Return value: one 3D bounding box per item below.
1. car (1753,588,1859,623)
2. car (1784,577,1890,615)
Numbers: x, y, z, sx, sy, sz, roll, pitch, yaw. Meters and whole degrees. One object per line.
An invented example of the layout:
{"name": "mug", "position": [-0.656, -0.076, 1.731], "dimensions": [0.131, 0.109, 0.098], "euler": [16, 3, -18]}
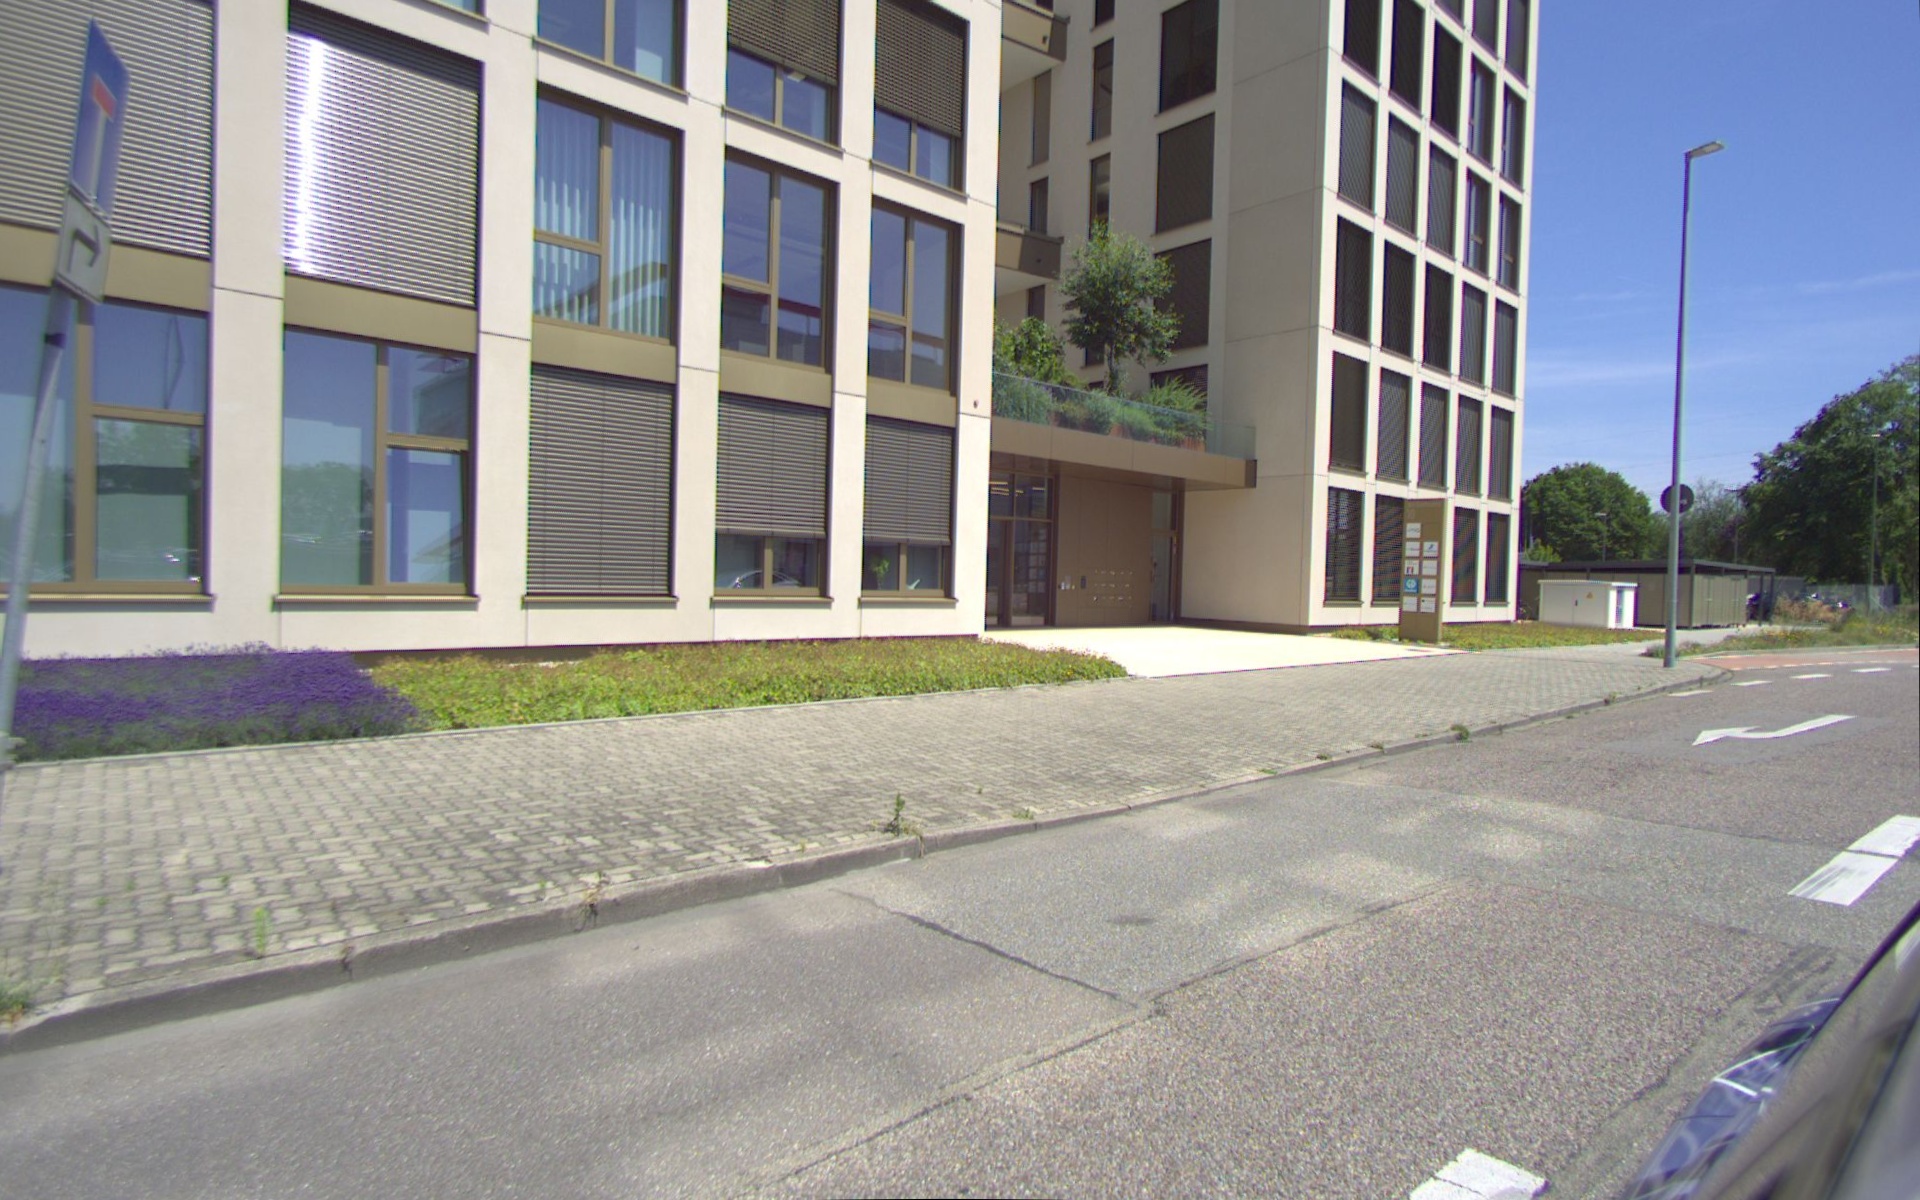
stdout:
{"name": "car", "position": [45.414, 0.270, 54.453], "dimensions": [3.959, 1.682, 1.823], "euler": [2, 2, 25]}
{"name": "car", "position": [48.884, -0.254, 56.500], "dimensions": [3.957, 1.977, 1.984], "euler": [2, 2, 24]}
